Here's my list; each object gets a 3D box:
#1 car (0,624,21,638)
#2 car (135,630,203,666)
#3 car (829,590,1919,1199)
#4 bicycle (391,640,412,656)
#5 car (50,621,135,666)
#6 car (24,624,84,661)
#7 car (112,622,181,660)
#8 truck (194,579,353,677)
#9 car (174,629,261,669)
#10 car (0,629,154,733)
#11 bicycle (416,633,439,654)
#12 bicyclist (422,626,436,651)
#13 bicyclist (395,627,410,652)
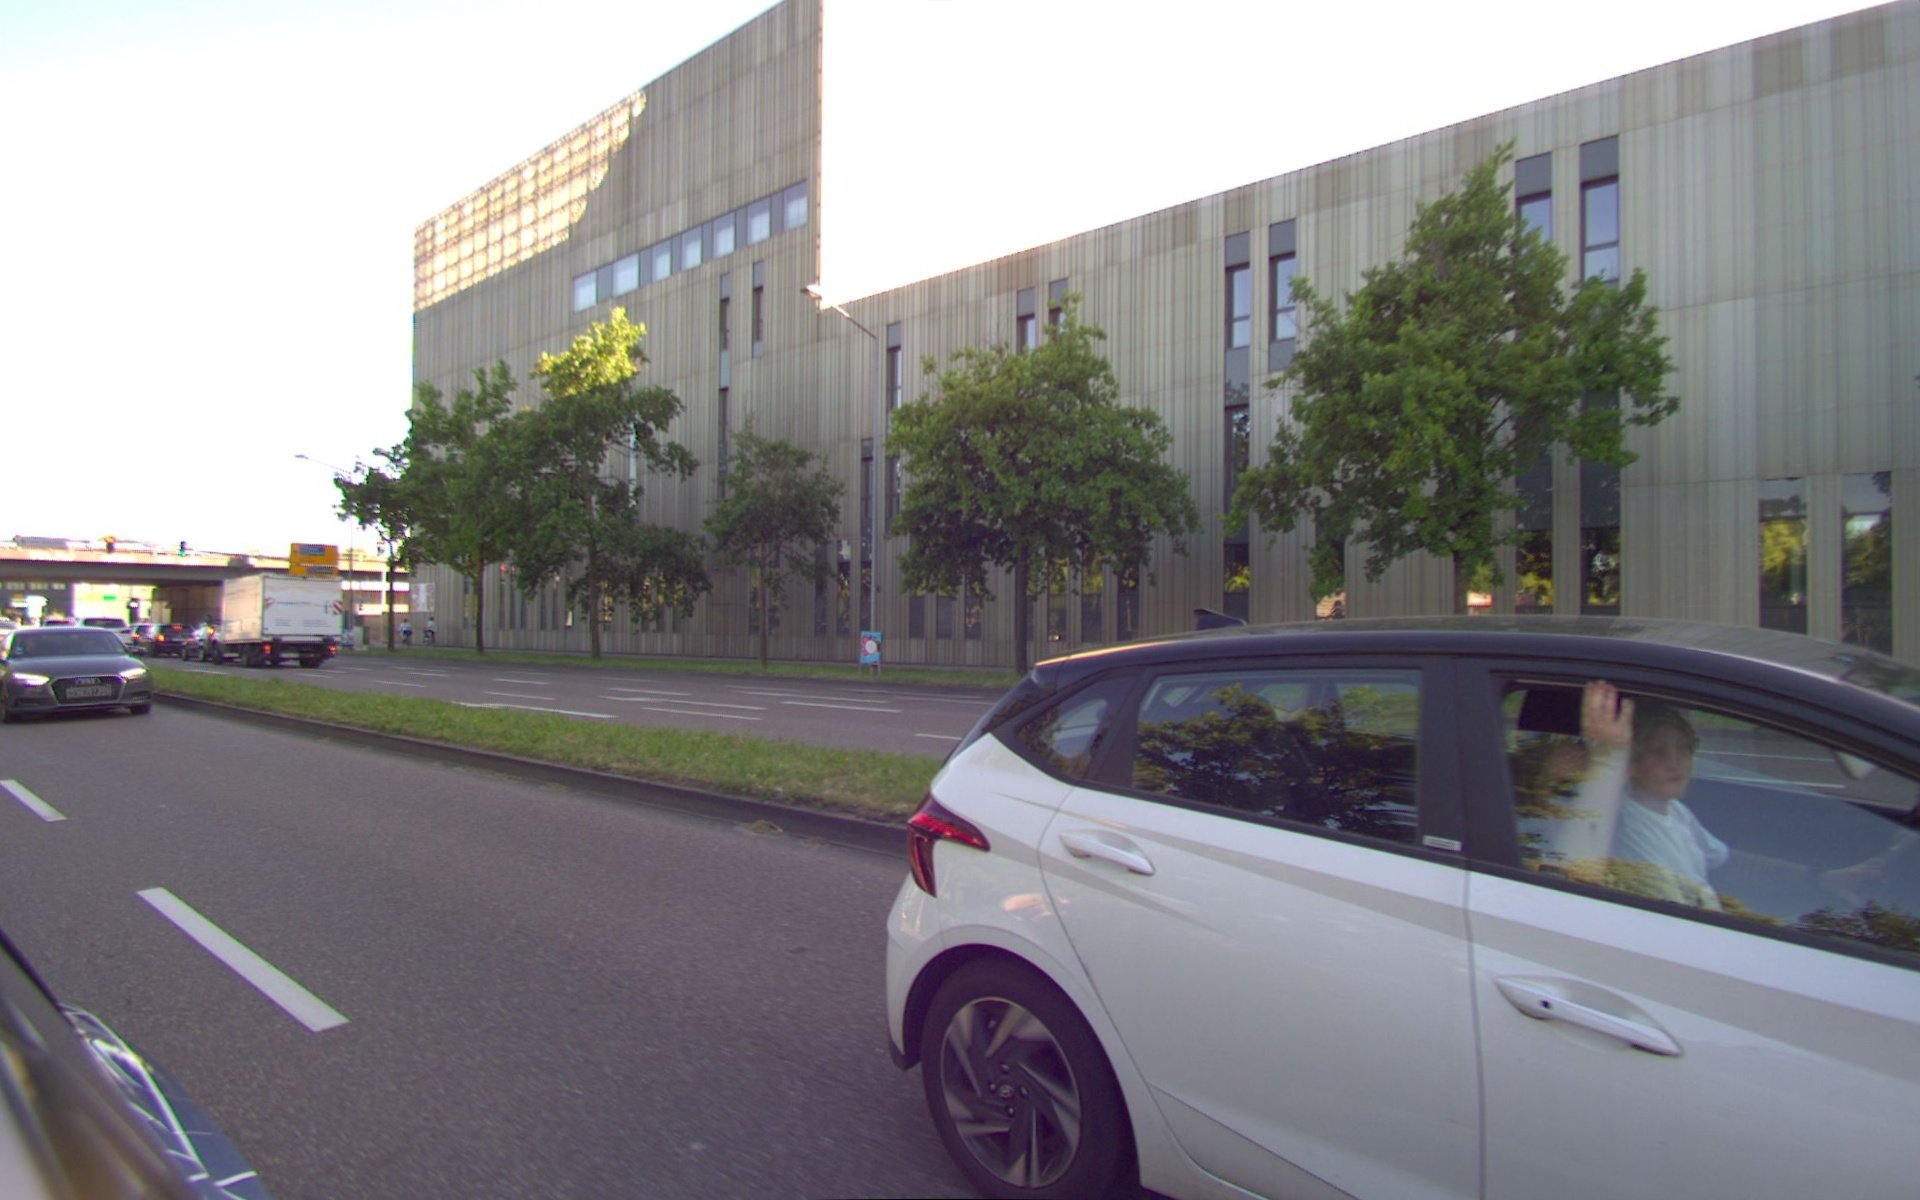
[{"bbox_3d":[-100.877,3.244,107.067,4.878,1.452,1.685,-1,-3,41],"label":"car"},{"bbox_3d":[-34.111,2.059,43.630,3.638,1.481,1.603,-2,-4,41],"label":"car"},{"bbox_3d":[1.759,0.703,2.059,4.072,1.419,1.760,-2,-1,41],"label":"car"},{"bbox_3d":[-33.495,2.879,60.676,1.753,0.897,0.507,-2,-2,40],"label":"bicycle"},{"bbox_3d":[-34.525,1.713,40.252,4.655,1.695,1.805,-1,-4,41],"label":"car"},{"bbox_3d":[-40.434,1.874,45.156,3.211,1.592,1.585,-1,-3,41],"label":"car"},{"bbox_3d":[-38.150,1.902,47.440,3.998,1.669,1.822,0,-3,41],"label":"car"},{"bbox_3d":[-23.407,0.981,34.371,7.111,2.983,2.658,-1,-4,41],"label":"truck"},{"bbox_3d":[-28.565,1.872,38.891,3.997,1.435,1.816,-2,-4,41],"label":"car"},{"bbox_3d":[-14.570,1.195,16.314,4.362,1.415,1.680,-1,-1,40],"label":"car"},{"bbox_3d":[-32.135,2.608,61.061,2.098,1.280,0.507,-2,-2,40],"label":"bicycle"},{"bbox_3d":[-31.984,2.319,60.940,0.644,1.518,0.502,-2,-3,40],"label":"bicyclist"},{"bbox_3d":[-33.398,2.358,60.607,0.752,1.453,0.502,-2,-3,40],"label":"bicyclist"}]
